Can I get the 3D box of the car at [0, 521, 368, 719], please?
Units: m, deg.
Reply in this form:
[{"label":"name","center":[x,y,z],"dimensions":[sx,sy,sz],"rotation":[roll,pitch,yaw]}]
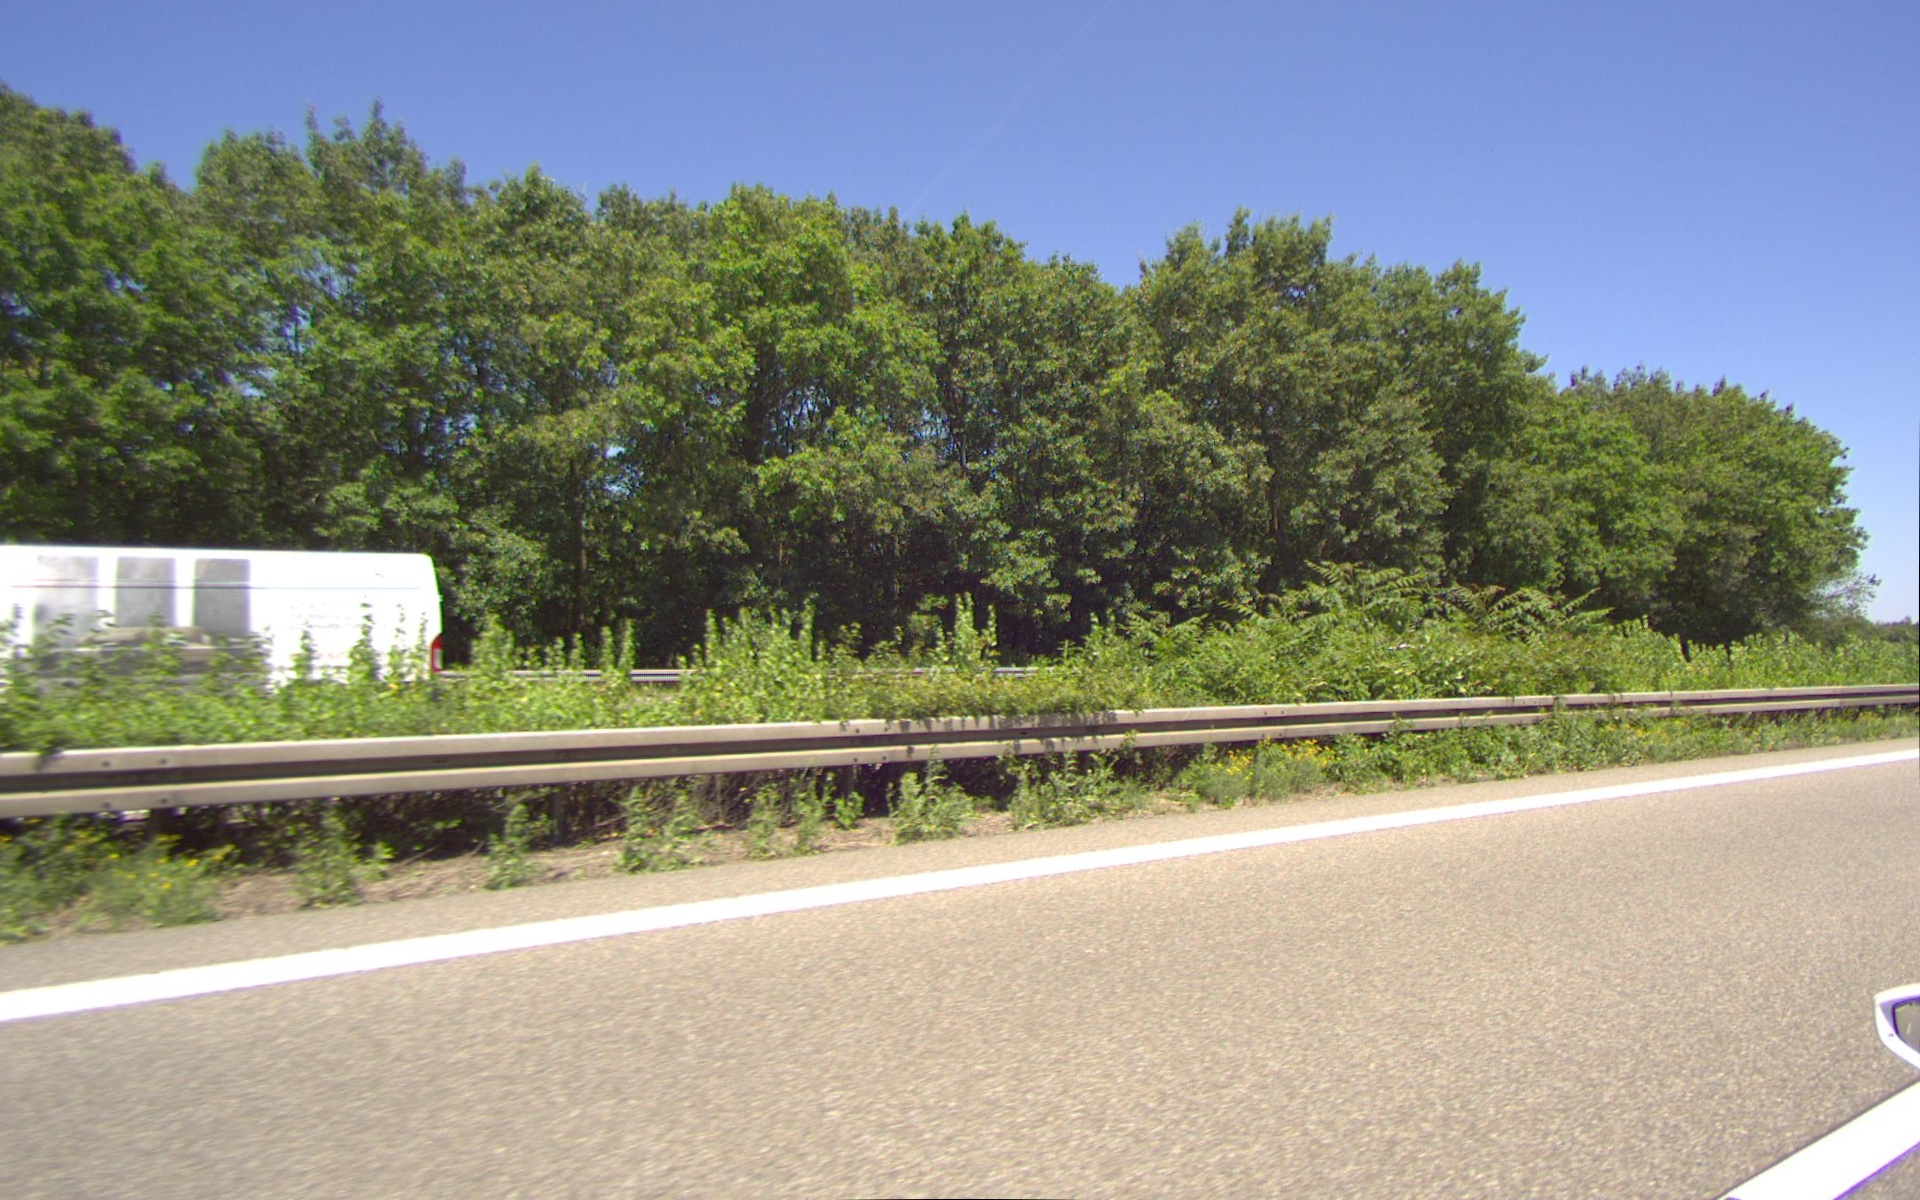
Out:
[{"label":"car","center":[-10.629,0.193,11.493],"dimensions":[6.556,2.082,2.136],"rotation":[2,0,-31]}]
